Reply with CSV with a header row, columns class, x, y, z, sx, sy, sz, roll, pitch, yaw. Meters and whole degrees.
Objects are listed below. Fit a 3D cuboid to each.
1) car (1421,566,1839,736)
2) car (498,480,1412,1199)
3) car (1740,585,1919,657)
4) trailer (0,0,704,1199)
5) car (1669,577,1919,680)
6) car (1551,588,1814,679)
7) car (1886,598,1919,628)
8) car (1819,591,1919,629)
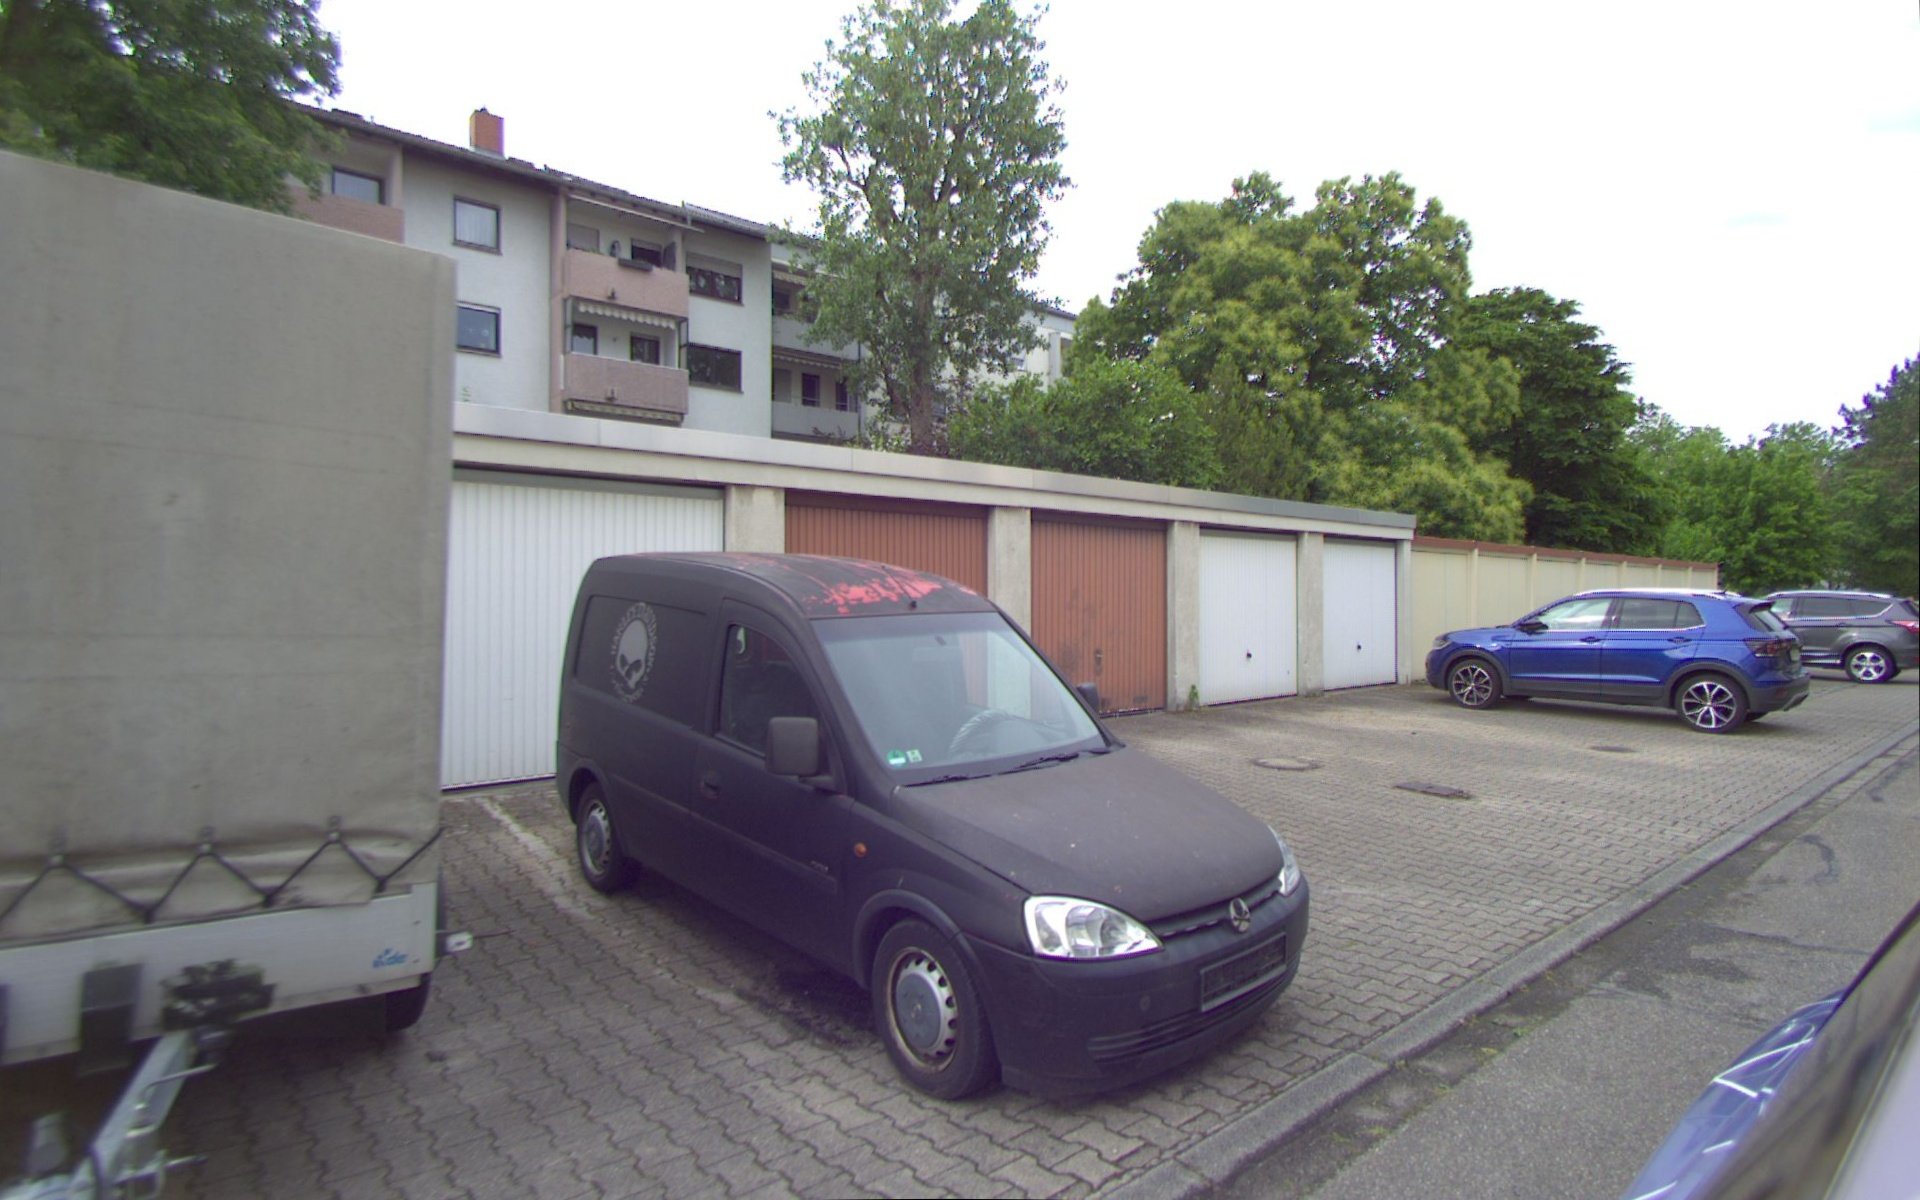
class,x,y,z,sx,sy,sz,roll,pitch,yaw
car,8.270,0.487,12.765,1.965,1.724,3.995,0,2,-41
car,-0.479,0.532,4.778,1.965,1.824,4.319,0,2,-41
car,22.819,0.503,25.816,1.901,1.605,4.296,0,2,-41
trailer,-2.659,0.212,3.006,1.908,2.557,4.618,0,-1,-40
car,16.909,0.490,20.130,1.965,1.749,4.204,0,2,-41
car,13.857,0.566,19.554,1.965,1.463,3.765,0,2,-41
car,49.819,0.653,51.323,1.756,1.504,4.100,0,0,-41
car,41.259,0.452,45.054,1.756,1.503,4.334,0,3,-40
